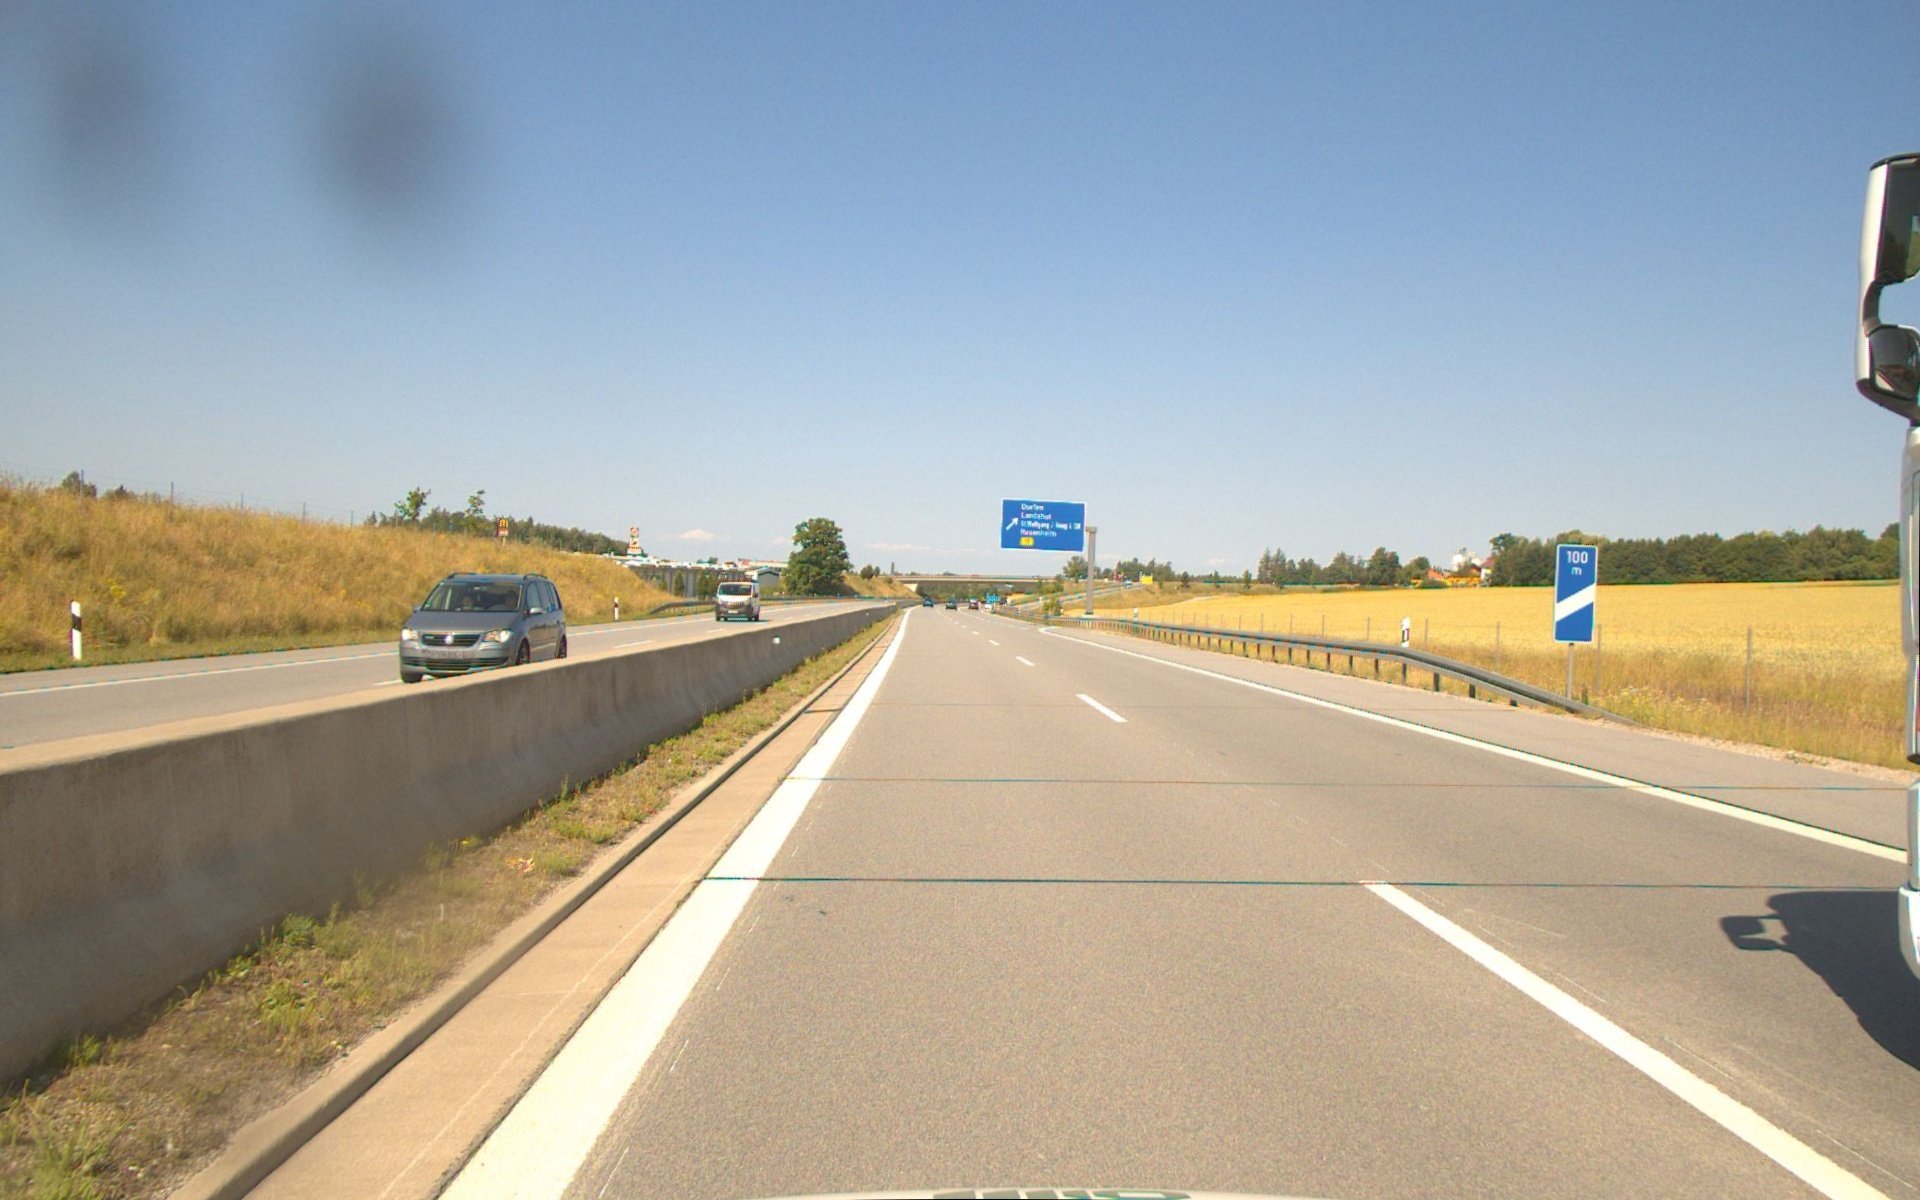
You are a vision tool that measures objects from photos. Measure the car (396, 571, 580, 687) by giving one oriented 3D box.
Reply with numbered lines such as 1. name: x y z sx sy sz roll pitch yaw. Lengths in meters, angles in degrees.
1. car: -7.211 0.410 25.725 1.842 1.603 4.561 1 0 -4

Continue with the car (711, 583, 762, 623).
1. car: -11.451 0.153 85.030 2.190 1.968 5.790 1 0 -4

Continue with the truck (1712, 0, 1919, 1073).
1. truck: 4.489 -0.570 3.329 3.020 4.084 6.188 1 0 -1
